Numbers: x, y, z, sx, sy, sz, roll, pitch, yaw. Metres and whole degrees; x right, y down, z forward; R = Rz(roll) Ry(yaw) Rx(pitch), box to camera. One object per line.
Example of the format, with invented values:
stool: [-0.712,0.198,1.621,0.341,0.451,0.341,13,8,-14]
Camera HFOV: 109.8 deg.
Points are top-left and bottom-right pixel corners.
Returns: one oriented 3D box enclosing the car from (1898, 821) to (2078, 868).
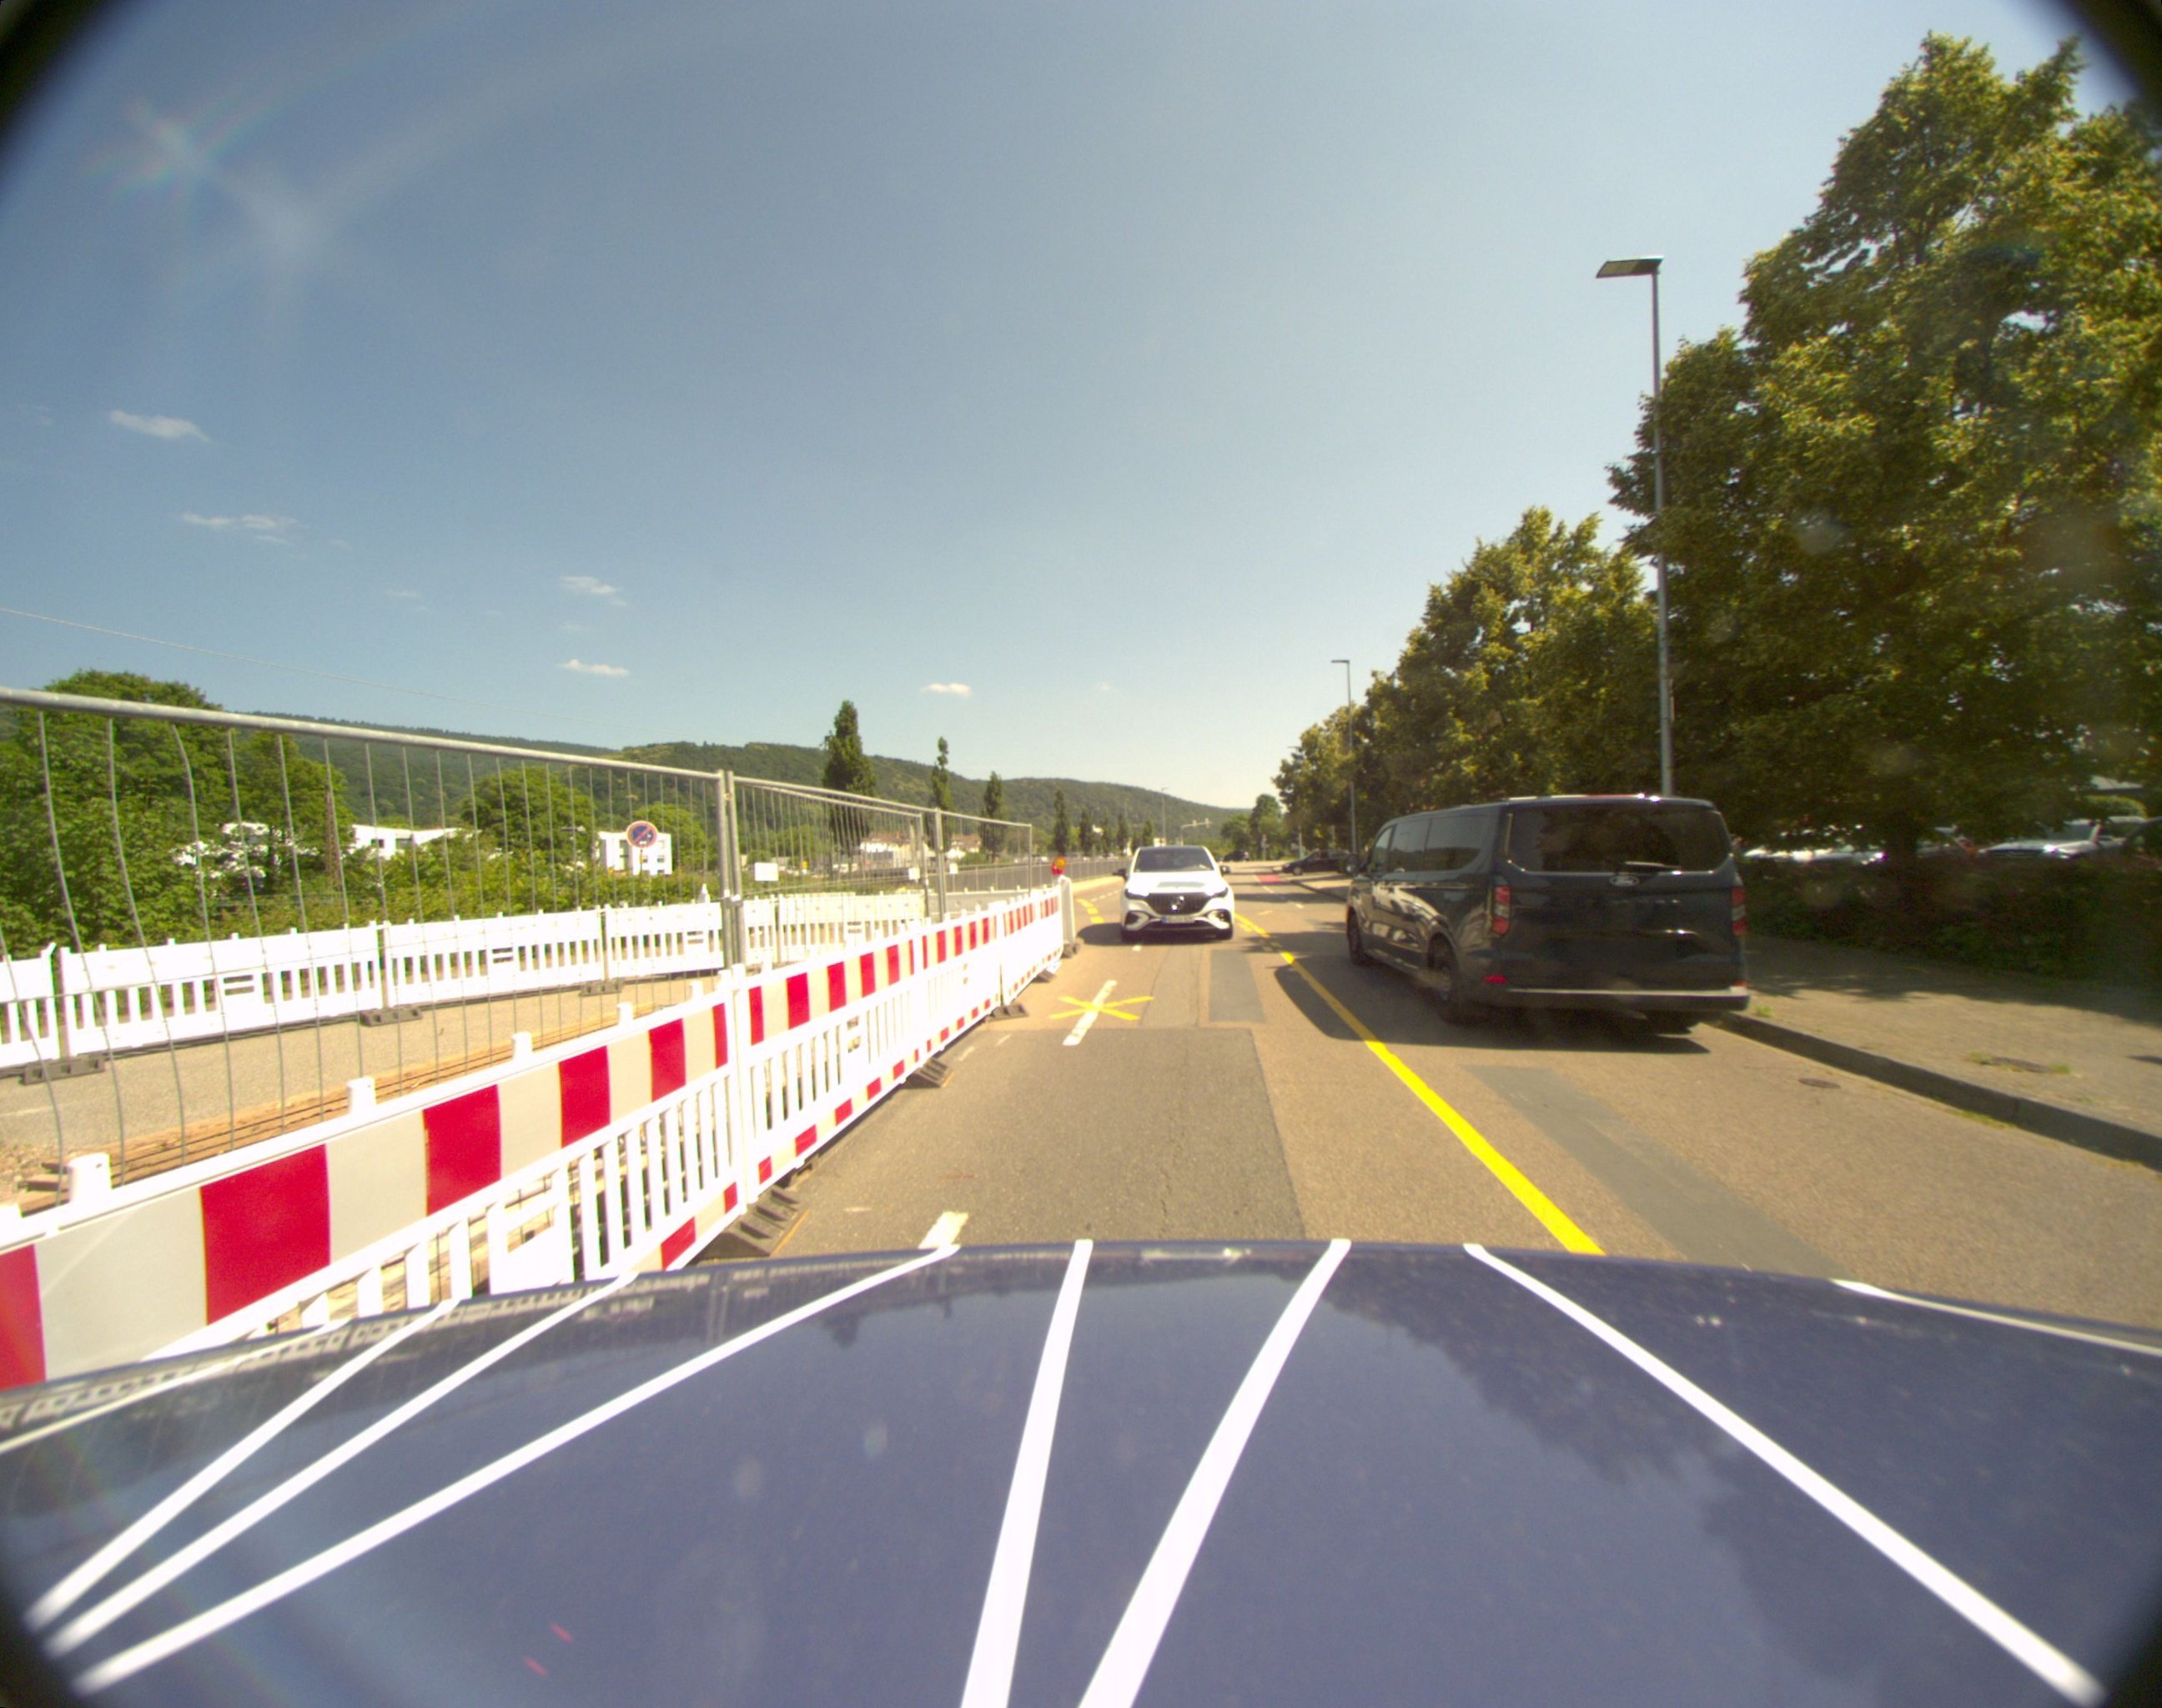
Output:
car: [36.638,-0.358,30.886,1.862,1.676,4.365,-4,0,-5]

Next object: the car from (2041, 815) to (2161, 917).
car: [18.639,0.194,11.927,1.860,1.676,4.369,0,0,6]

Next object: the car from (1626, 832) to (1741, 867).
car: [29.032,-0.185,36.784,1.920,1.543,4.139,-2,0,-8]

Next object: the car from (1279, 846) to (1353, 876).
car: [13.807,0.386,44.899,3.993,1.455,1.882,-4,0,13]

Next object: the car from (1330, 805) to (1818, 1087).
car: [4.334,0.593,8.093,2.180,1.957,5.447,1,1,7]

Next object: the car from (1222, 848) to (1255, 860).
car: [22.260,-0.048,107.515,2.003,1.635,4.517,-2,1,-31]

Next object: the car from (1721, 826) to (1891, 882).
car: [24.481,-0.009,25.718,4.312,1.676,1.861,-2,0,-8]

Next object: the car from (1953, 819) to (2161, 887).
car: [27.058,-0.042,20.989,4.367,1.676,1.861,-2,0,-9]

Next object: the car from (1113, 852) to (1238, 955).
car: [1.810,0.809,14.977,1.998,1.635,5.033,-2,0,6]
